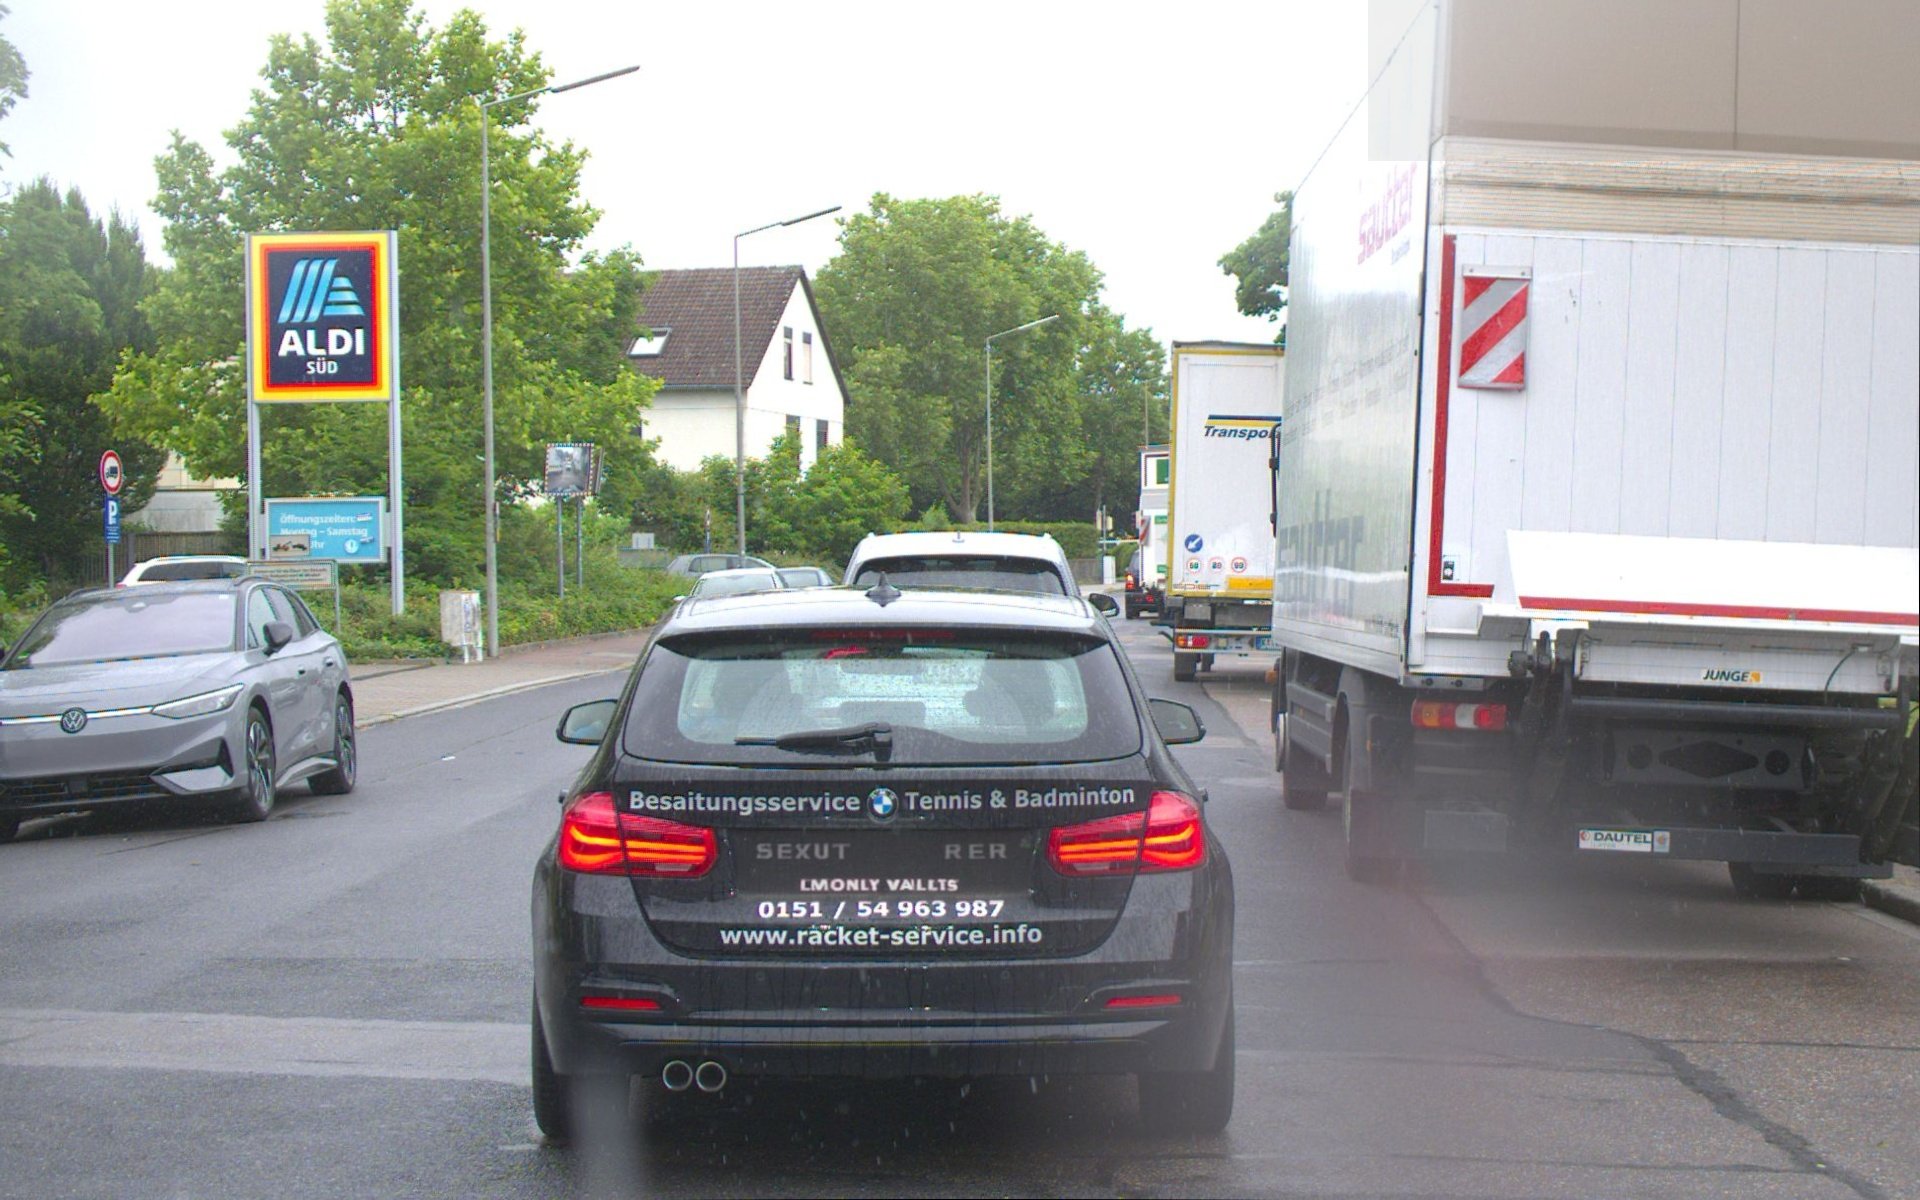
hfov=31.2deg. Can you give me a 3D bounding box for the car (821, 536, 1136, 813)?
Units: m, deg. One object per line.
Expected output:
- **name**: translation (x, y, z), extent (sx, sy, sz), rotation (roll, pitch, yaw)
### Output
- **car**: translation (0.060, 0.411, 21.752), extent (1.804, 1.581, 4.000), rotation (0, 0, -1)

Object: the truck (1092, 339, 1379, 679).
- **truck**: translation (3.141, -1.044, 41.190), extent (2.741, 3.598, 7.750), rotation (2, 1, 0)

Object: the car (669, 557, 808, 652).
- **car**: translation (-3.529, 0.046, 55.475), extent (1.705, 1.362, 4.601), rotation (-3, 1, 3)

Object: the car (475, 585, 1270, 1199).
- **car**: translation (-0.245, 0.666, 9.836), extent (1.804, 1.390, 4.000), rotation (0, 0, -1)

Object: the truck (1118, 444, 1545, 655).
- **truck**: translation (6.304, -0.855, 57.449), extent (7.728, 3.245, 2.348), rotation (-1, 4, -41)

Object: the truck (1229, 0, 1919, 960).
- **truck**: translation (3.117, -0.618, 17.648), extent (2.741, 3.776, 9.299), rotation (2, 1, 1)

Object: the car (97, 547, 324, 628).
- **car**: translation (-14.621, -0.258, 67.225), extent (3.987, 1.535, 1.910), rotation (0, 1, 2)

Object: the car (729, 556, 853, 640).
- **car**: translation (-2.992, -0.059, 61.438), extent (1.706, 1.362, 3.837), rotation (-3, 1, 4)

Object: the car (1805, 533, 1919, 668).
- **car**: translation (11.719, -0.008, 37.205), extent (4.671, 1.463, 1.787), rotation (0, 1, 39)

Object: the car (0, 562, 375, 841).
- **car**: translation (-5.166, 0.582, 22.408), extent (1.809, 1.523, 4.748), rotation (-4, 1, 0)

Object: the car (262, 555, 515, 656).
- **car**: translation (-8.843, 0.068, 53.342), extent (3.570, 1.455, 1.712), rotation (1, 1, 2)
